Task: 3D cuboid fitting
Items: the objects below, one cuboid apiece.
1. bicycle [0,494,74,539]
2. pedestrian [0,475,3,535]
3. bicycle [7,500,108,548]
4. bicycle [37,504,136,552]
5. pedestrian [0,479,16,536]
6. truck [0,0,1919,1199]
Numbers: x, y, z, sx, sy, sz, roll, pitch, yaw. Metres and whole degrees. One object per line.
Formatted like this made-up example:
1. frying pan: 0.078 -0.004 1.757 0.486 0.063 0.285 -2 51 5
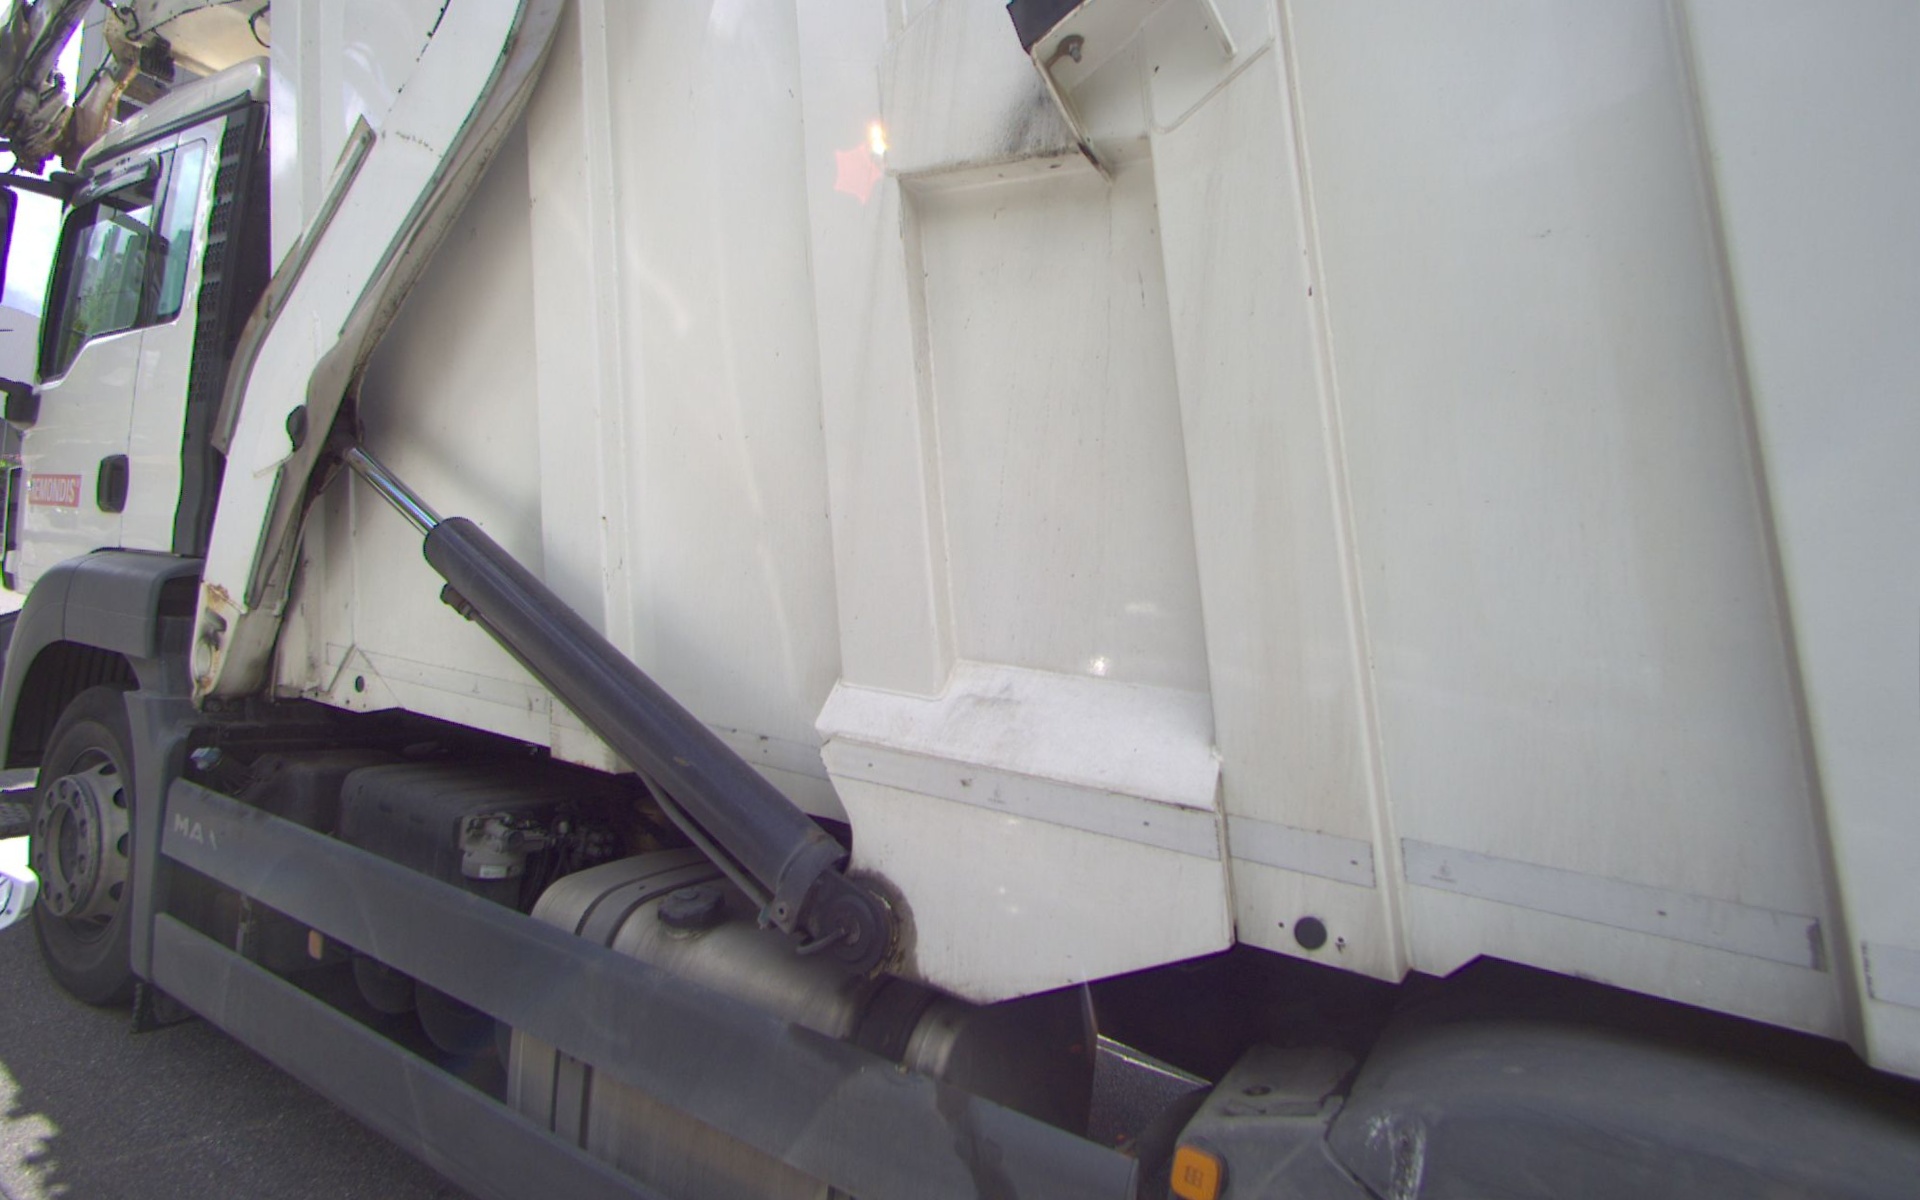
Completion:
1. bicycle: -29.299 -2.642 31.491 2.197 1.099 0.474 8 -1 -23
2. pedestrian: -28.781 -2.820 29.525 0.698 1.818 0.693 7 3 16
3. bicycle: -27.963 -2.335 31.206 2.197 1.099 0.474 8 -1 -23
4. bicycle: -26.915 -2.204 31.023 2.166 1.099 0.474 8 -1 -23
5. pedestrian: -29.122 -2.835 30.324 0.646 1.659 0.535 7 -1 7
6. truck: 1.080 -0.255 2.164 10.003 3.958 2.494 6 -1 31
